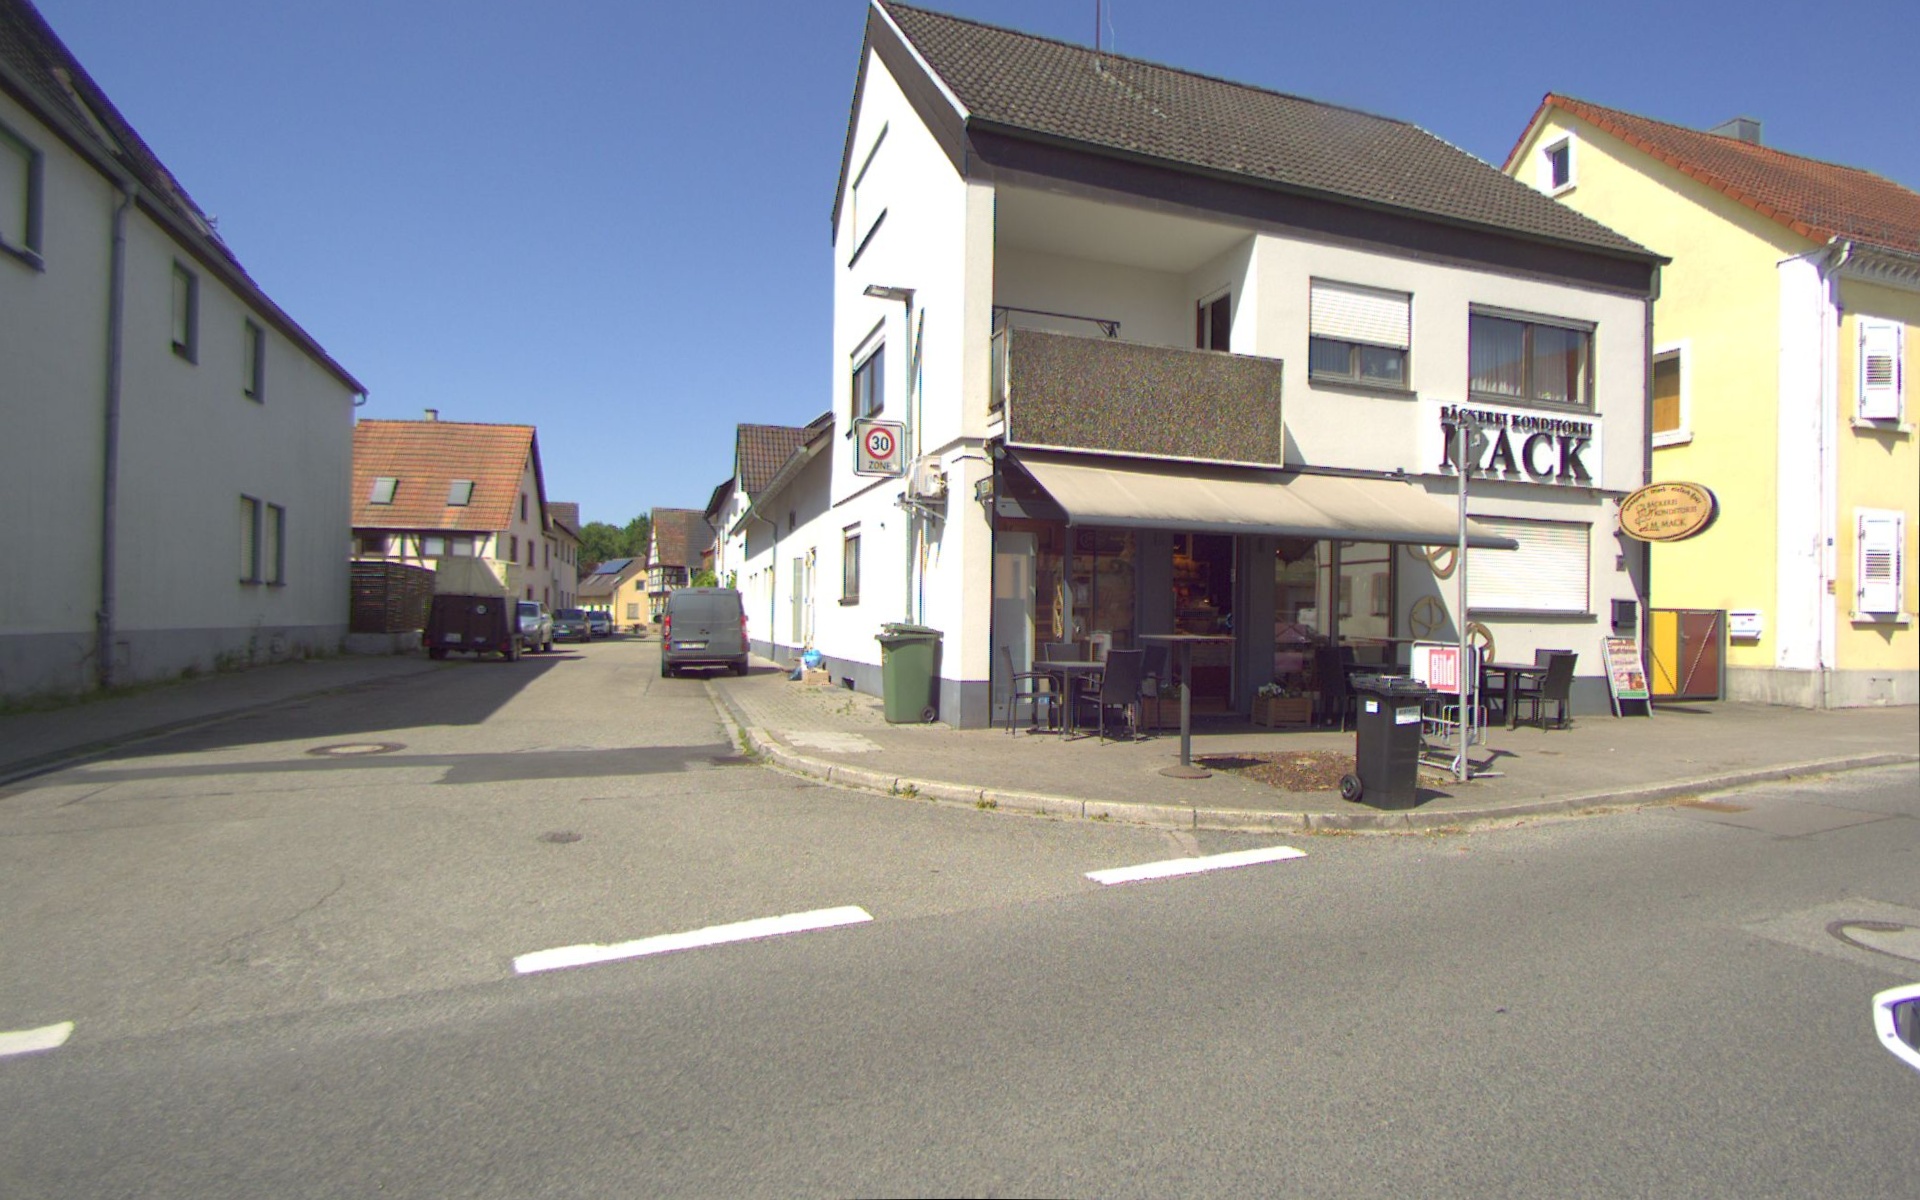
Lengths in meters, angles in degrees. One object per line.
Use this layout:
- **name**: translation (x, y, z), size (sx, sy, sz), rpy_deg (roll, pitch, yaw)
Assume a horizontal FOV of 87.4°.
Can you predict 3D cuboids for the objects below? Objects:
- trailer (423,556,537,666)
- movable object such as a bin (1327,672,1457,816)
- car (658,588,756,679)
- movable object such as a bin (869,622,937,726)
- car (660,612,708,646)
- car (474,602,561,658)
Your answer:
- **trailer**: translation (-12.895, 0.307, 27.247), size (2.024, 2.708, 3.987), rpy_deg (2, -1, -16)
- **movable object such as a bin**: translation (3.138, 1.017, 7.321), size (0.606, 0.936, 0.639), rpy_deg (1, -1, -30)
- **car**: translation (-5.504, 0.675, 21.653), size (1.843, 1.782, 3.750), rpy_deg (1, -1, -16)
- **movable object such as a bin**: translation (-0.666, 0.832, 11.600), size (0.634, 1.153, 0.671), rpy_deg (1, 0, -18)
- **car**: translation (-12.452, 1.279, 45.203), size (1.968, 1.416, 3.986), rpy_deg (1, -1, -17)
- **car**: translation (-14.393, 0.954, 32.876), size (1.966, 1.706, 3.988), rpy_deg (1, -1, -15)
